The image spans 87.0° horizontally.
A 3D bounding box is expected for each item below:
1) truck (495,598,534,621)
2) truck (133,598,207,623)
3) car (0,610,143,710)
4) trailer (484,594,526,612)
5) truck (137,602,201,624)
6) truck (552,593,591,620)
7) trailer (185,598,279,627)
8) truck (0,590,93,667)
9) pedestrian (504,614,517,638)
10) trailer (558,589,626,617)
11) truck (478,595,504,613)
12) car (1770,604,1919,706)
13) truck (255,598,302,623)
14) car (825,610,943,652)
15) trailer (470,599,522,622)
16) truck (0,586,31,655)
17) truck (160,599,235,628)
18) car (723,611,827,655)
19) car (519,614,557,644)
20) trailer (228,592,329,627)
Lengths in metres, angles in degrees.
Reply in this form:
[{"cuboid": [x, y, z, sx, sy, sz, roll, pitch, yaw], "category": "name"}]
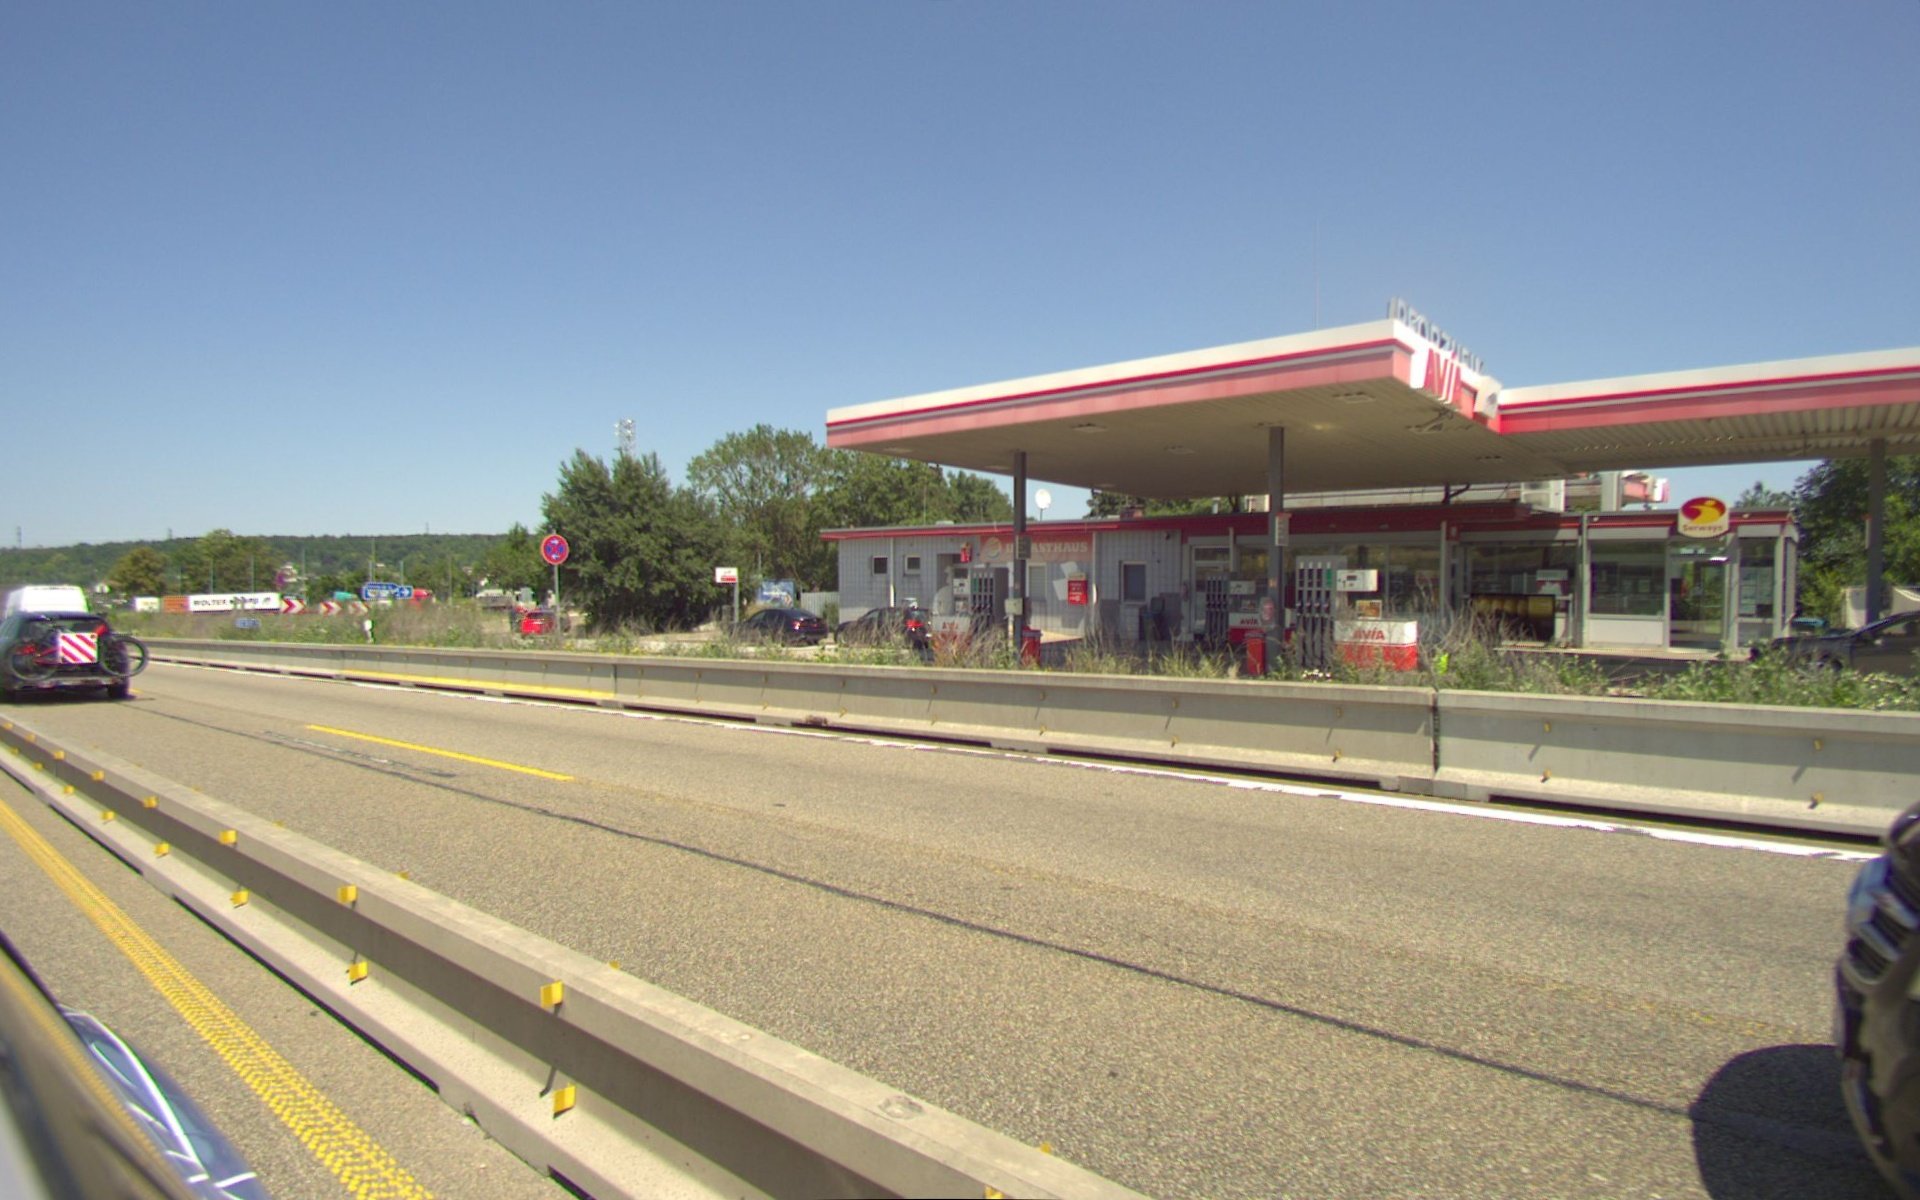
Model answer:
[{"cuboid": [-57.972, 1.246, 131.693, 5.625, 2.789, 2.247, -2, 0, 39], "category": "truck"}, {"cuboid": [-149.366, 1.983, 191.422, 11.343, 3.701, 2.534, -4, 2, -5], "category": "truck"}, {"cuboid": [-16.873, 1.048, 18.791, 4.732, 1.616, 1.837, -2, -1, 41], "category": "car"}, {"cuboid": [-92.650, 0.693, 206.011, 11.694, 3.405, 2.915, -2, -1, 39], "category": "trailer"}, {"cuboid": [-146.341, 2.379, 187.281, 9.017, 3.568, 2.695, -4, 2, -6], "category": "truck"}, {"cuboid": [-57.197, 0.961, 149.047, 5.957, 3.650, 2.835, -2, 0, 41], "category": "truck"}, {"cuboid": [-117.466, 2.030, 163.408, 12.560, 3.812, 2.624, -4, 2, -4], "category": "trailer"}, {"cuboid": [-36.407, 1.114, 40.029, 6.488, 2.807, 2.216, -2, -1, 41], "category": "truck"}, {"cuboid": [-22.941, 1.323, 51.651, 0.467, 1.214, 0.587, 0, -1, -34], "category": "pedestrian"}, {"cuboid": [-52.893, 0.445, 145.252, 13.426, 3.650, 2.991, -2, 0, 41], "category": "trailer"}, {"cuboid": [-97.225, 0.851, 209.757, 4.902, 3.383, 2.866, -2, 0, 39], "category": "truck"}, {"cuboid": [15.611, 0.854, 15.978, 4.315, 1.421, 1.733, -1, 4, 42], "category": "car"}, {"cuboid": [-110.449, 1.706, 164.066, 5.647, 3.644, 2.585, -4, 2, -8], "category": "truck"}, {"cuboid": [-2.611, 1.068, 34.337, 3.997, 1.343, 1.628, -2, -2, 40], "category": "car"}, {"cuboid": [-61.942, 1.384, 134.944, 9.385, 2.789, 2.232, -2, 0, 39], "category": "trailer"}, {"cuboid": [-49.621, 1.053, 51.547, 8.112, 3.317, 2.469, -1, -1, 41], "category": "truck"}, {"cuboid": [-132.124, 2.241, 175.539, 9.741, 4.251, 3.590, -4, 2, -6], "category": "truck"}, {"cuboid": [-6.995, 1.251, 38.064, 3.997, 1.365, 1.629, -4, 2, 41], "category": "car"}, {"cuboid": [-21.782, 1.465, 52.350, 1.478, 1.342, 4.199, -4, 2, -19], "category": "car"}, {"cuboid": [-98.750, 1.306, 146.843, 12.192, 4.197, 2.863, -4, 2, -4], "category": "trailer"}]
